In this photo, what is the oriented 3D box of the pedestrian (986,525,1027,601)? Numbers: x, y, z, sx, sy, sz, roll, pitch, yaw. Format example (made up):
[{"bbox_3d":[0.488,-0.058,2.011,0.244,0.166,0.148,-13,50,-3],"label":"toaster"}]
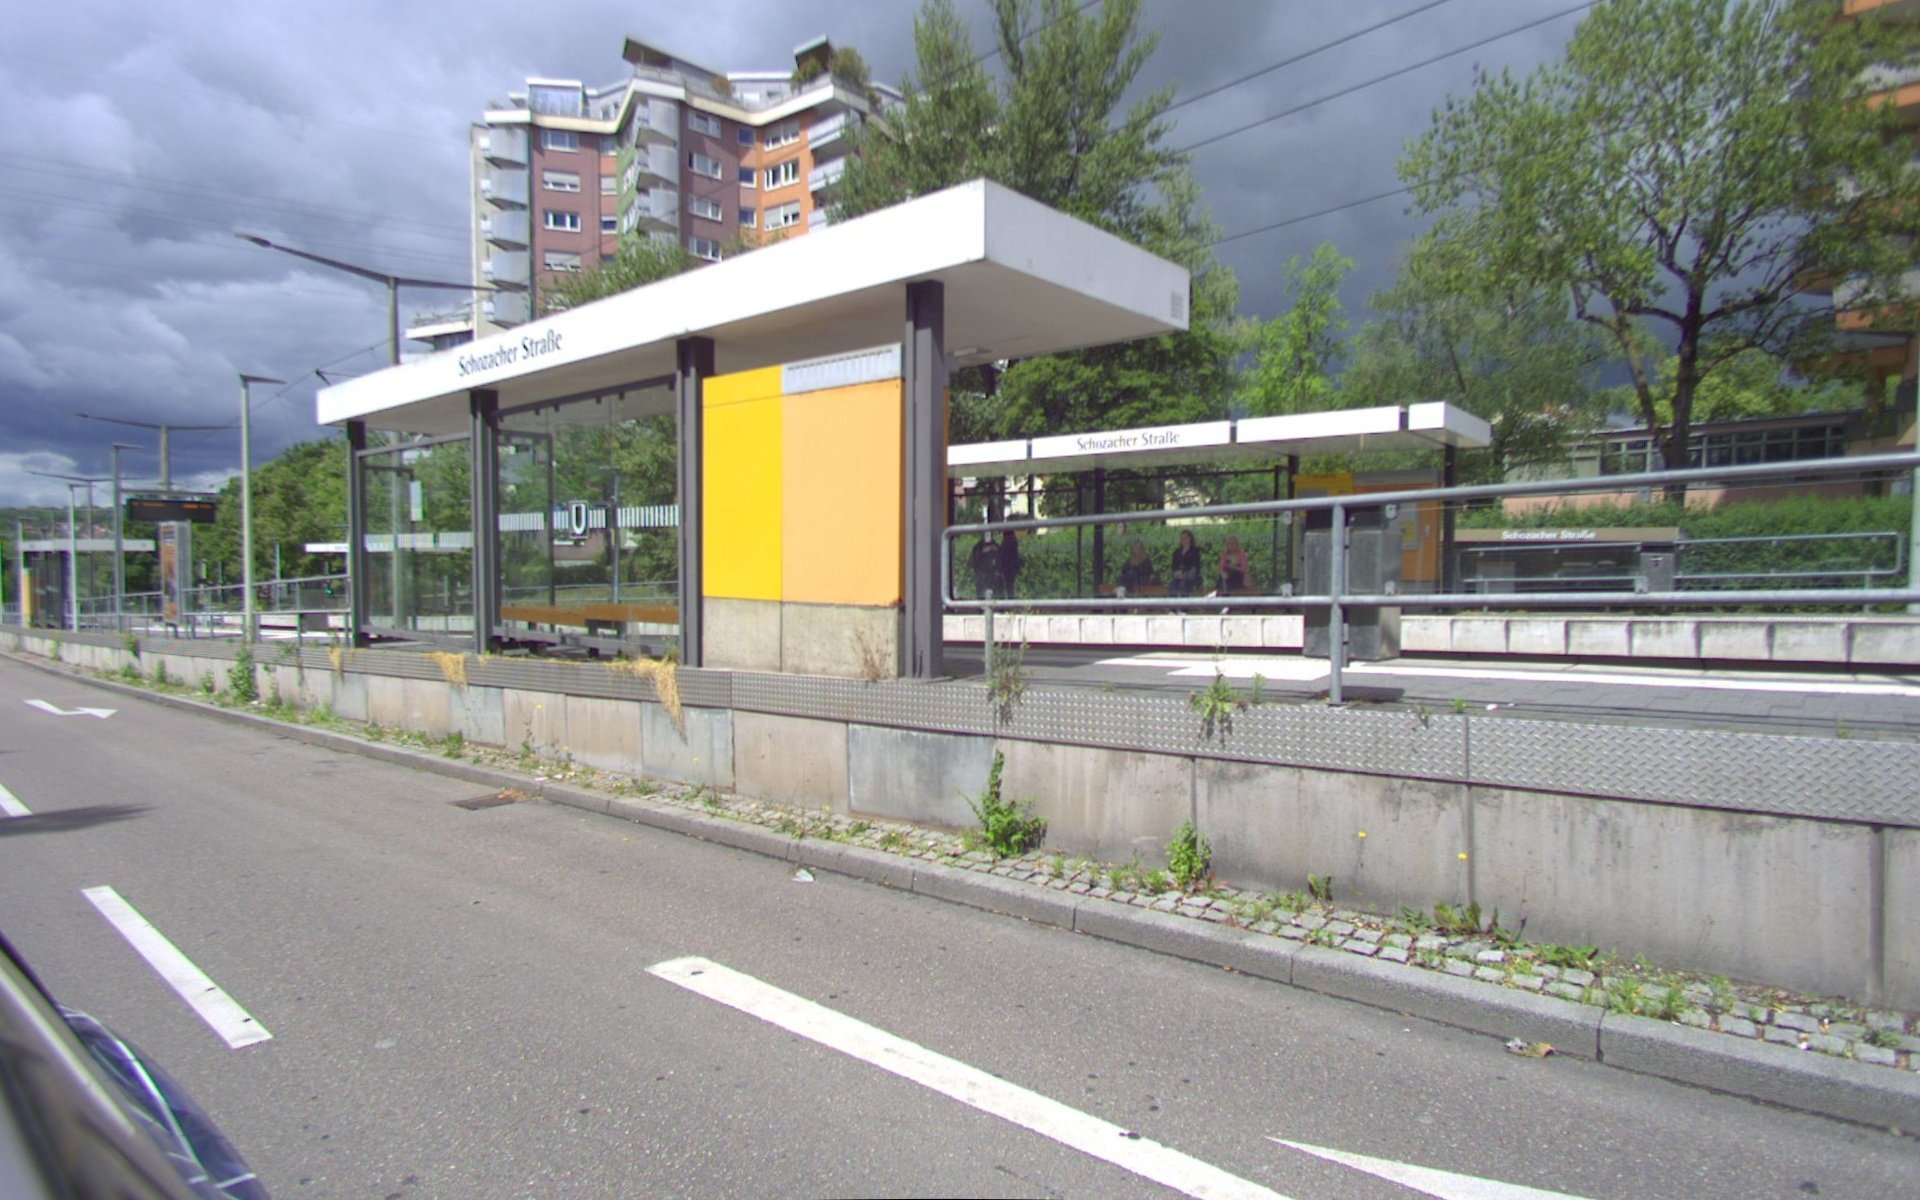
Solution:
[{"bbox_3d":[0.871,-0.685,18.840,0.520,1.390,0.537,2,1,32],"label":"pedestrian"}]

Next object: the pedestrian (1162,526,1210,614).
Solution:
[{"bbox_3d":[3.639,-0.473,16.290,0.506,1.379,0.637,-1,-1,41],"label":"pedestrian"}]

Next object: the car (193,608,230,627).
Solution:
[{"bbox_3d":[-59.398,1.399,80.295,3.999,1.429,1.637,-1,0,42],"label":"car"}]

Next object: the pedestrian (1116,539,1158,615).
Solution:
[{"bbox_3d":[2.959,-0.372,16.919,0.541,1.246,0.516,-1,0,29],"label":"pedestrian"}]

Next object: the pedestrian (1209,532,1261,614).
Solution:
[{"bbox_3d":[4.289,-0.409,15.772,0.517,1.246,0.734,-1,-1,41],"label":"pedestrian"}]

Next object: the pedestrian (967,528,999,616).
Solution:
[{"bbox_3d":[0.445,-0.527,19.469,0.558,1.657,0.520,-1,0,9],"label":"pedestrian"}]
